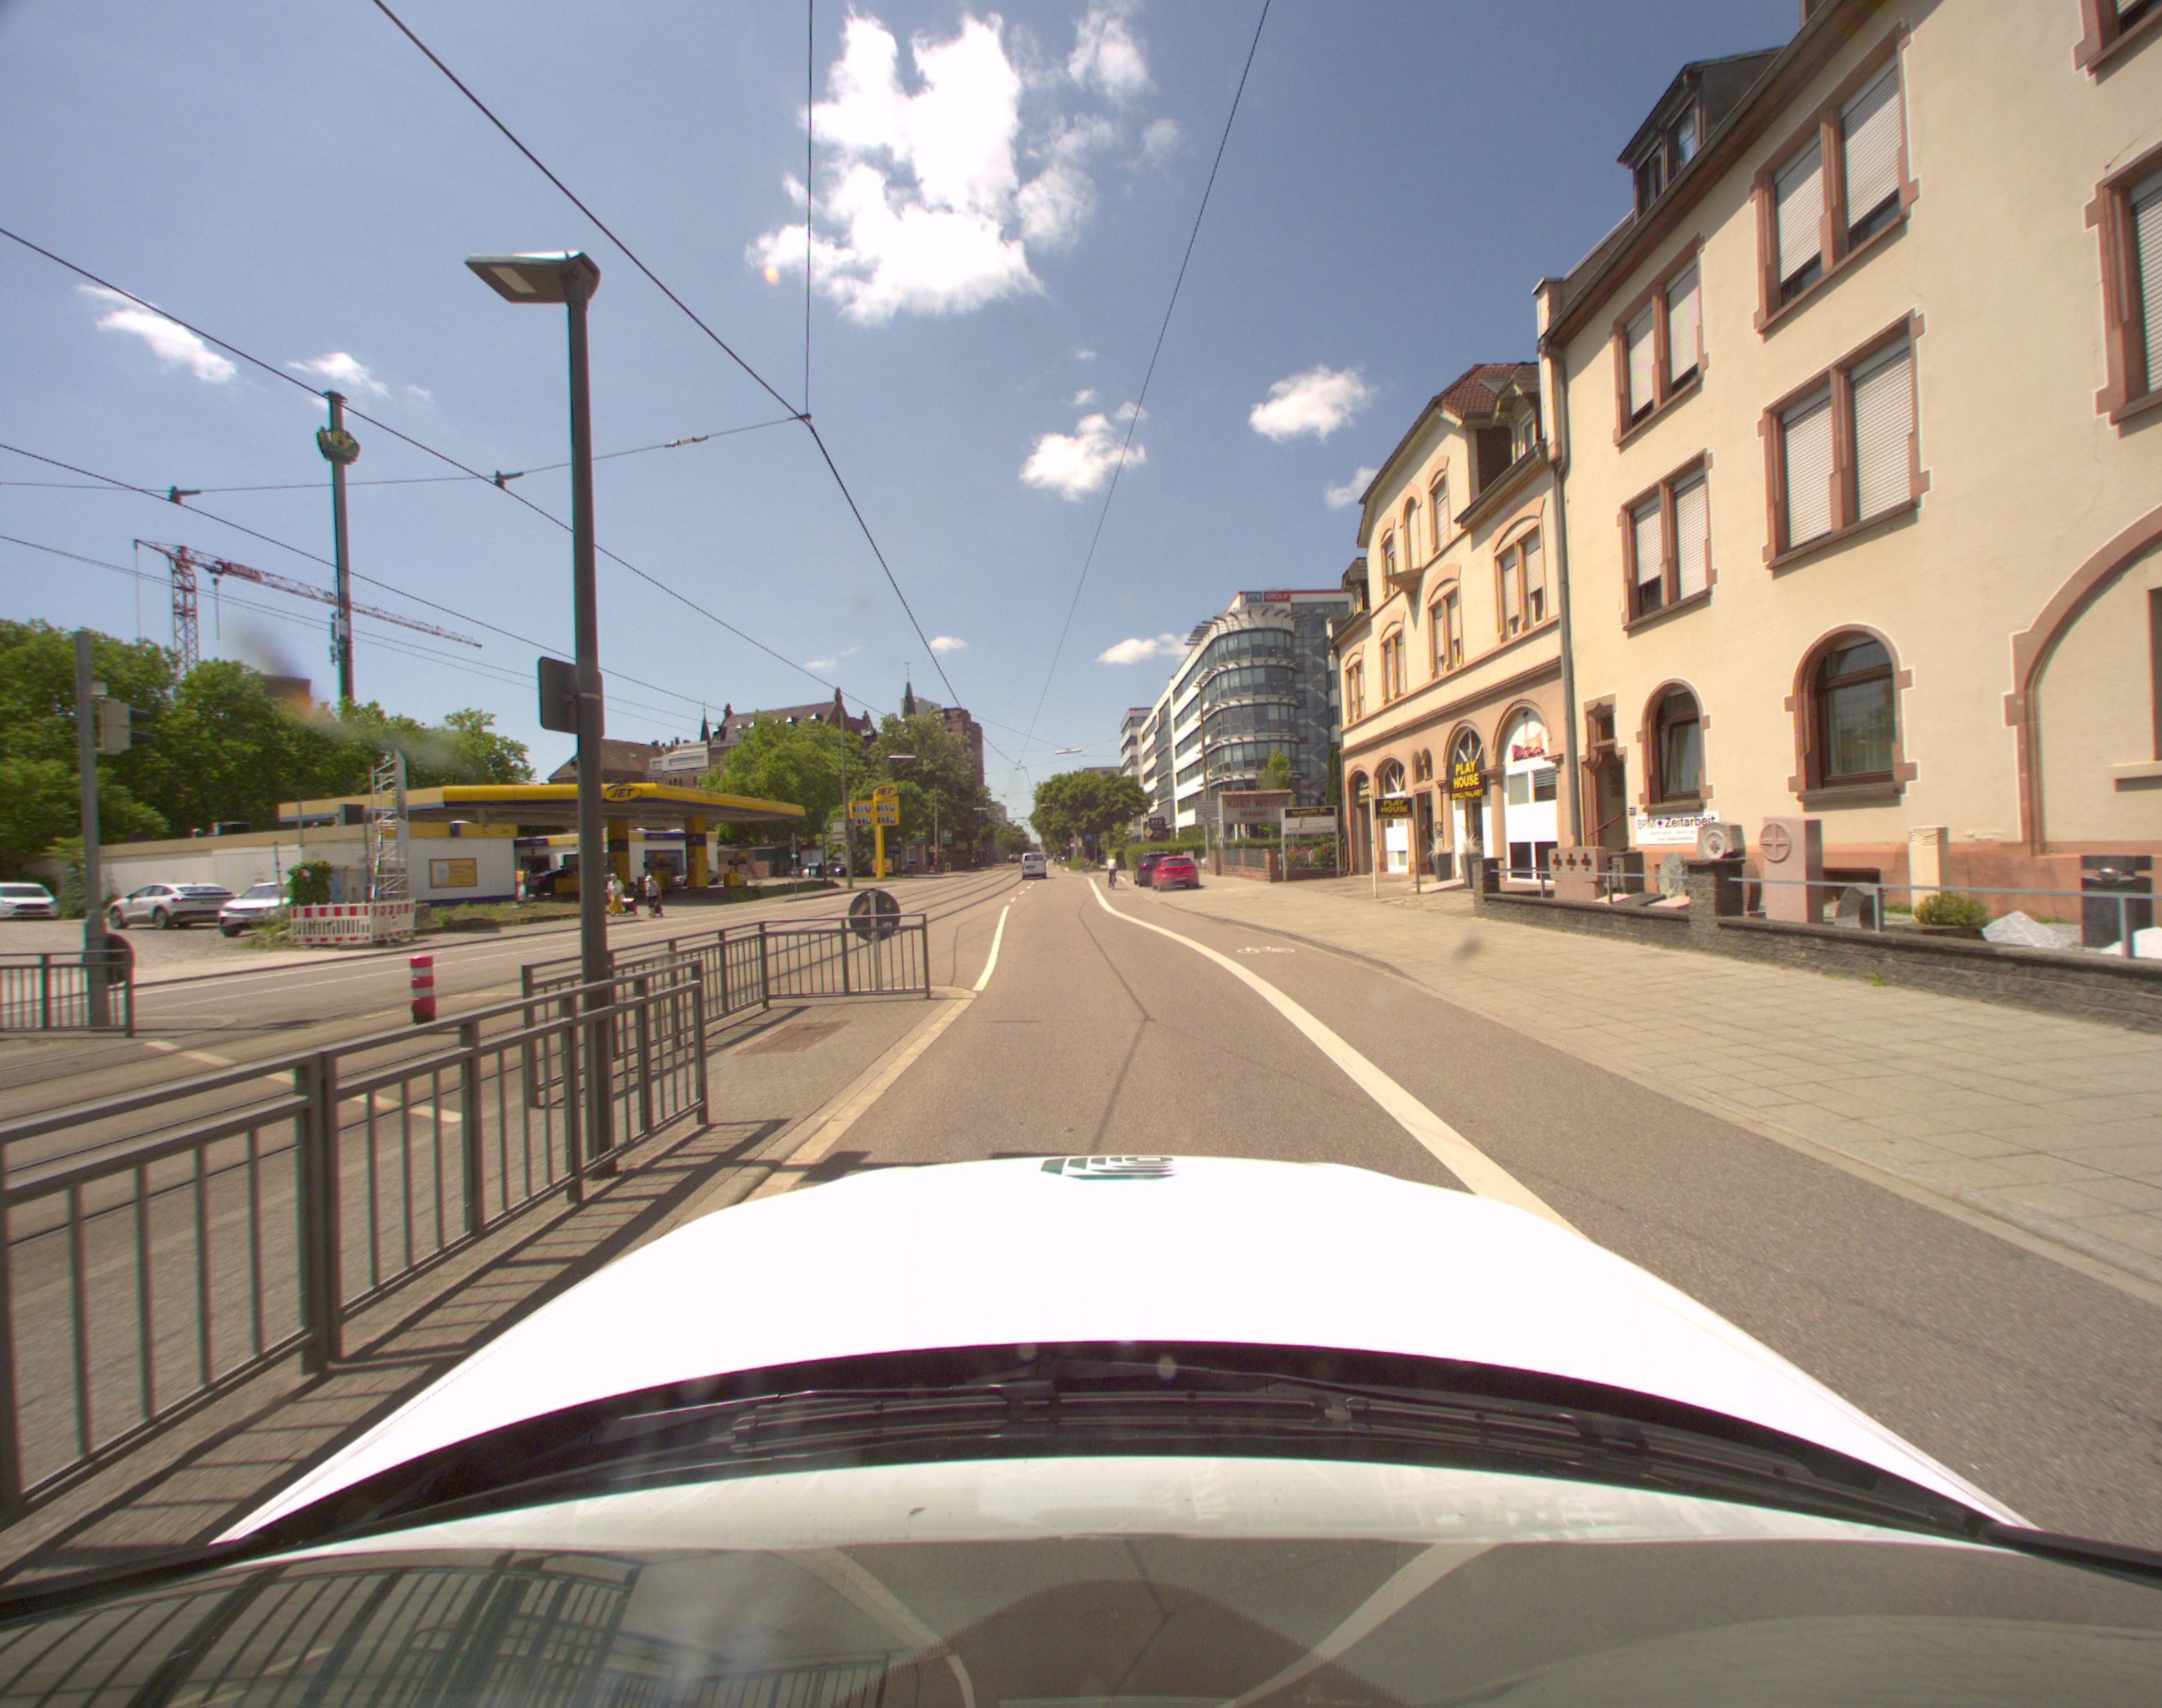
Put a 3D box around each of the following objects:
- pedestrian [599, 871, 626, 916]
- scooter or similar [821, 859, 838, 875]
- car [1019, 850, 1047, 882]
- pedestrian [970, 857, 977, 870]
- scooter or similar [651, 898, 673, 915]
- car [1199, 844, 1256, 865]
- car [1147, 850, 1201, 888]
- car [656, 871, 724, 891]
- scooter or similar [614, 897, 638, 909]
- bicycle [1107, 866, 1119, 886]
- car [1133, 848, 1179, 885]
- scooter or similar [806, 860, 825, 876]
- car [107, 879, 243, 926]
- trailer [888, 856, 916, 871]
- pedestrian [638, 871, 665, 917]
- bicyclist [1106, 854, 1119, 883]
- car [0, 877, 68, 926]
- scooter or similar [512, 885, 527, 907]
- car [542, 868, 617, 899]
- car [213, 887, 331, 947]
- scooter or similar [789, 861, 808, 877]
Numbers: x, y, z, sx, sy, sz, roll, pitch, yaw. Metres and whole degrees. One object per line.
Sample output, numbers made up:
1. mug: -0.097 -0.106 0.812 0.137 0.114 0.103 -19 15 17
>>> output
1. pedestrian: -17.675 1.477 30.716 0.550 1.658 0.673 -2 0 5
2. scooter or similar: -23.815 1.239 77.226 1.168 1.466 1.060 -2 -1 3
3. car: -3.341 0.811 57.408 1.748 2.013 3.996 -4 1 -3
4. pedestrian: -17.197 1.542 130.557 0.862 2.013 0.645 -4 -1 -5
5. scooter or similar: -15.962 2.004 31.033 0.473 0.581 0.633 -2 0 8
6. car: 10.677 0.055 59.532 3.789 1.275 1.554 -4 0 -2
7. car: 4.035 0.610 35.986 1.708 1.452 4.069 -4 0 -2
8. car: -31.791 2.161 66.428 1.819 1.365 5.035 -2 0 21
9. scooter or similar: -17.575 1.887 31.458 0.471 0.394 0.673 -2 0 5
10. bicycle: 1.549 1.072 39.652 0.464 0.887 2.048 -2 0 0
11. car: 3.793 0.587 42.018 1.857 1.687 5.000 -3 0 0
12. scooter or similar: -25.378 1.364 77.823 1.306 1.466 1.062 -2 -1 9
13. car: -31.970 1.721 28.762 3.970 1.463 1.768 -2 0 19
14. trailer: -19.234 0.987 87.582 2.720 1.526 1.328 -1 -1 -2
15. pedestrian: -15.921 1.474 30.191 0.577 1.671 0.668 -2 0 6
16. bicyclist: 1.532 0.707 39.620 0.589 1.397 0.841 -2 0 0
17. car: -49.167 2.246 37.716 3.950 2.013 1.905 -5 -1 26
18. scooter or similar: -25.065 1.874 36.377 0.404 0.930 0.327 -2 0 0
19. car: -32.174 1.879 52.348 1.584 1.703 3.791 -5 -1 23
20. car: -25.287 1.899 25.617 2.067 1.567 3.955 -2 0 -37
21. scooter or similar: -27.233 1.477 78.472 1.306 1.466 1.062 -2 0 9
